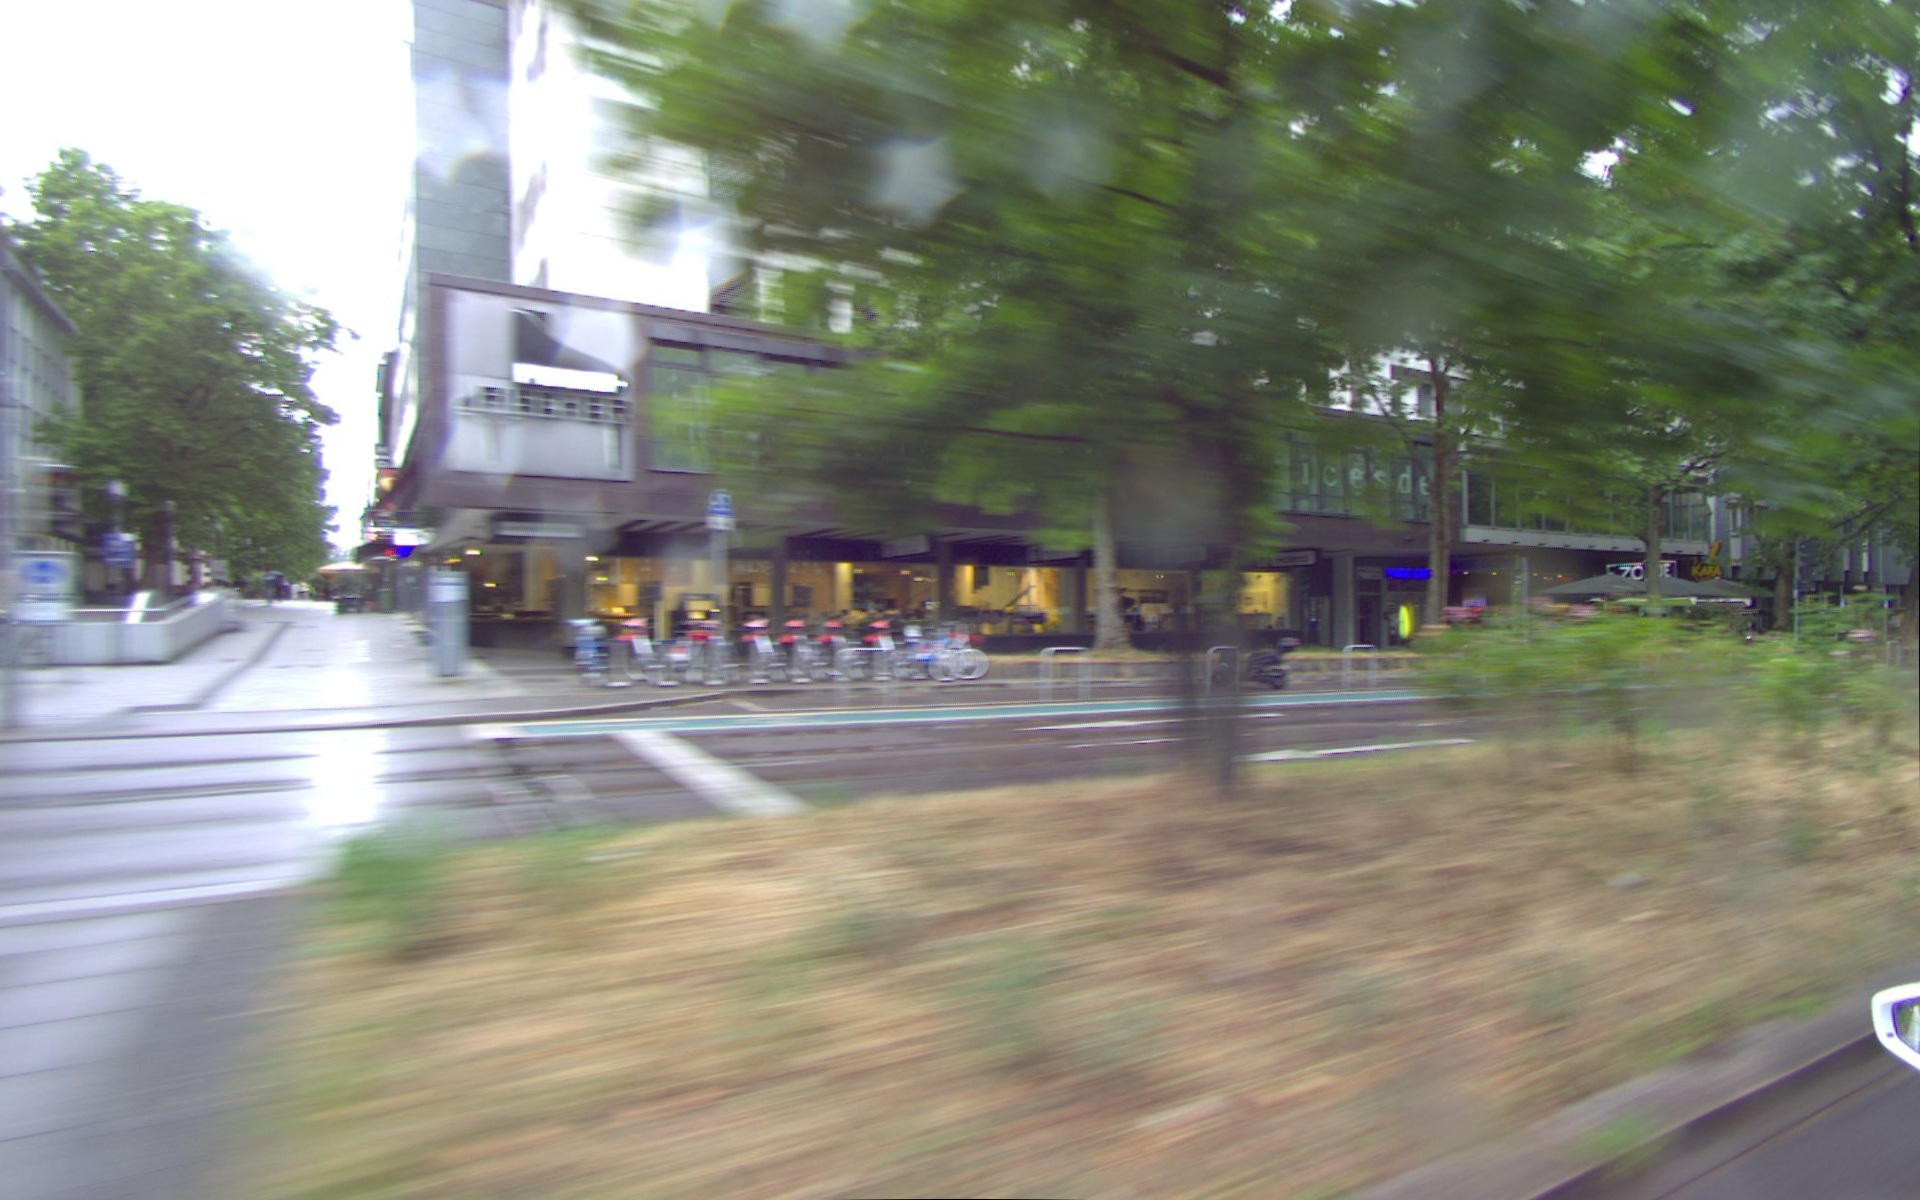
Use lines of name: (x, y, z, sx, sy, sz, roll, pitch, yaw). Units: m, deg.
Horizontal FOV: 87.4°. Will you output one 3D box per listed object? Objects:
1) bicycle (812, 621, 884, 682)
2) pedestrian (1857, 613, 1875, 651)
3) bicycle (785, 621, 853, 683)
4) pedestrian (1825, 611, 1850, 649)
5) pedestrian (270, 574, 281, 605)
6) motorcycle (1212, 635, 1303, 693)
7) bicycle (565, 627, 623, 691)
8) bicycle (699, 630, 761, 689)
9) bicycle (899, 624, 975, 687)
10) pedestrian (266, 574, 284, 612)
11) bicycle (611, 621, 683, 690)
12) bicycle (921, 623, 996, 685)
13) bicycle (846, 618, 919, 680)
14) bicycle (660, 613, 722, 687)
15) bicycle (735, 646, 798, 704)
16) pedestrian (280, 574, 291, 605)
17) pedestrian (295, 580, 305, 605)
bicycle: (-2.179, 0.972, 19.360, 0.560, 1.112, 1.808, 1, -1, -36)
pedestrian: (48.956, 1.728, 54.278, 0.596, 2.040, 0.594, 1, 0, -30)
bicycle: (-2.675, 0.961, 18.969, 0.560, 1.106, 1.658, 1, -1, -36)
pedestrian: (48.102, 1.621, 55.085, 0.628, 2.040, 0.876, 1, 0, -30)
pedestrian: (-43.097, -0.661, 63.283, 0.473, 1.956, 0.603, 2, 0, -29)
motorcycle: (6.209, 1.322, 21.005, 1.748, 1.099, 0.495, 1, 0, 31)
bicycle: (-6.172, 0.959, 16.898, 0.559, 0.992, 1.834, 1, -1, -32)
bicycle: (-4.166, 1.058, 18.158, 0.561, 0.992, 1.452, 1, -1, -37)
bicycle: (-0.470, 1.054, 19.491, 0.560, 1.152, 1.832, 0, -1, -35)
pedestrian: (-37.081, -0.373, 54.357, 0.656, 2.040, 0.752, 2, 0, -28)
bicycle: (-5.422, 0.925, 17.346, 0.609, 1.112, 1.831, 1, -1, -37)
bicycle: (-0.054, 1.051, 20.020, 0.560, 1.165, 1.832, 0, -1, -35)
bicycle: (-1.548, 0.943, 19.737, 0.560, 1.152, 1.831, 1, -1, -36)
bicycle: (-4.755, 0.851, 17.671, 0.505, 1.257, 1.606, 1, -1, -36)
bicycle: (-3.565, 1.356, 18.424, 0.505, 0.975, 1.606, 1, -1, -36)
pedestrian: (-42.694, -0.647, 63.580, 0.473, 1.956, 0.603, 2, 0, -29)
pedestrian: (-55.570, -0.641, 84.579, 0.576, 2.040, 0.658, 2, 0, -29)
